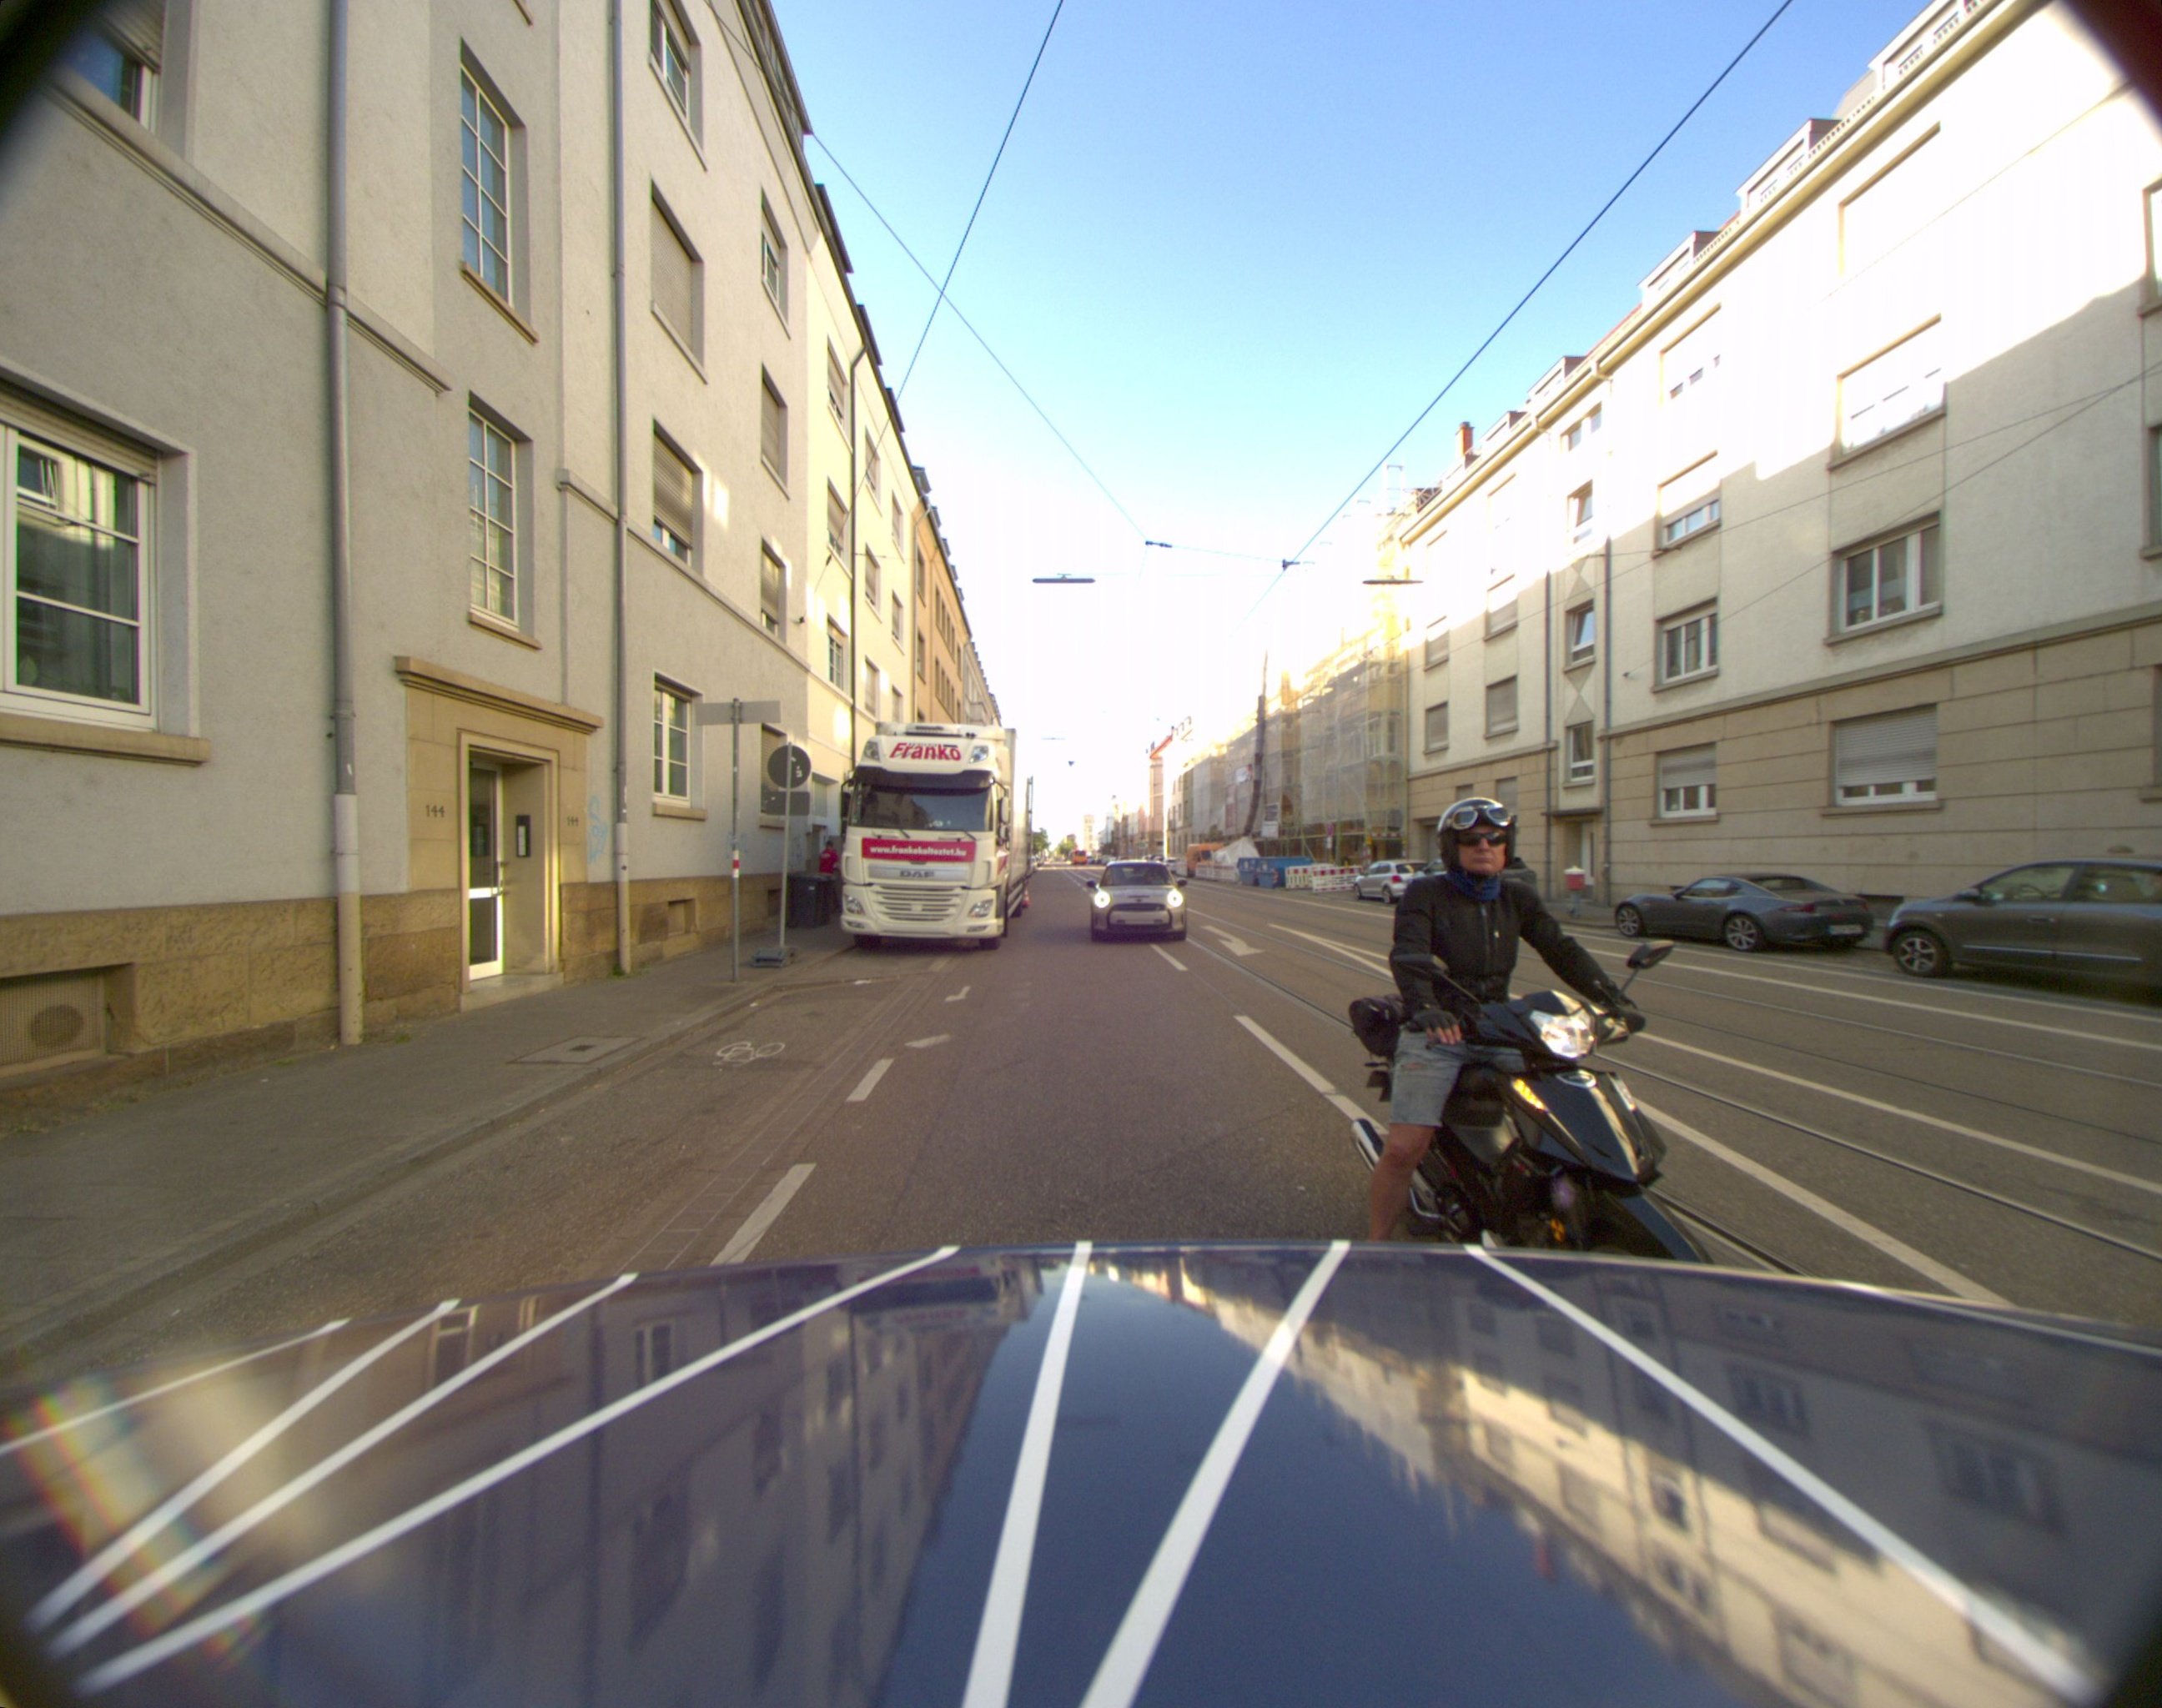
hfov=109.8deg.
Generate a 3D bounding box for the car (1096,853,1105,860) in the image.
[{"bbox_3d":[4.258,0.595,167.814,1.684,1.478,3.965,-2,0,-1],"label":"car"}]

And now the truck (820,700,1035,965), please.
[{"bbox_3d":[-2.628,-0.325,17.183,2.782,3.903,11.816,0,0,-2],"label":"truck"}]

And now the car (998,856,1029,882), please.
[{"bbox_3d":[-4.178,0.889,47.190,1.685,1.522,4.148,-2,0,-3],"label":"car"}]

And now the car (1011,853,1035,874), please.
[{"bbox_3d":[-4.512,0.738,59.161,1.685,1.522,4.148,-2,0,-3],"label":"car"}]

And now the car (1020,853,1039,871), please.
[{"bbox_3d":[-4.858,0.739,72.101,1.685,1.522,4.148,-2,0,-3],"label":"car"}]

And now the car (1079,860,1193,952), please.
[{"bbox_3d":[0.921,0.877,14.773,1.685,1.454,4.148,-2,0,-3],"label":"car"}]

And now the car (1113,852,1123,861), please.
[{"bbox_3d":[6.530,0.447,134.403,1.684,1.478,3.966,-2,0,1],"label":"car"}]

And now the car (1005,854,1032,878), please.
[{"bbox_3d":[-4.304,0.821,52.992,1.685,1.522,4.148,-2,0,-3],"label":"car"}]

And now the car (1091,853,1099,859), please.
[{"bbox_3d":[3.536,0.585,191.748,1.684,1.478,3.965,-2,0,-1],"label":"car"}]

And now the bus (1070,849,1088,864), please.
[{"bbox_3d":[-0.620,0.540,163.164,2.755,3.095,19.156,0,0,-3],"label":"bus"}]

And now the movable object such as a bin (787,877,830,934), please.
[{"bbox_3d":[-5.385,1.003,15.043,0.666,1.087,0.570,0,1,-2],"label":"movable object such as a bin"}]

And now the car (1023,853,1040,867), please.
[{"bbox_3d":[-5.352,0.638,82.746,1.685,1.522,4.148,-2,0,-3],"label":"car"}]

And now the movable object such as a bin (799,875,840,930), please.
[{"bbox_3d":[-5.402,0.995,15.711,0.666,1.087,0.570,0,1,-2],"label":"movable object such as a bin"}]

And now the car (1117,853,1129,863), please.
[{"bbox_3d":[6.598,0.607,118.637,1.684,1.478,3.966,-2,0,1],"label":"car"}]

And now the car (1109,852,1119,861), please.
[{"bbox_3d":[5.957,0.426,139.346,1.684,1.478,3.966,-2,0,1],"label":"car"}]
